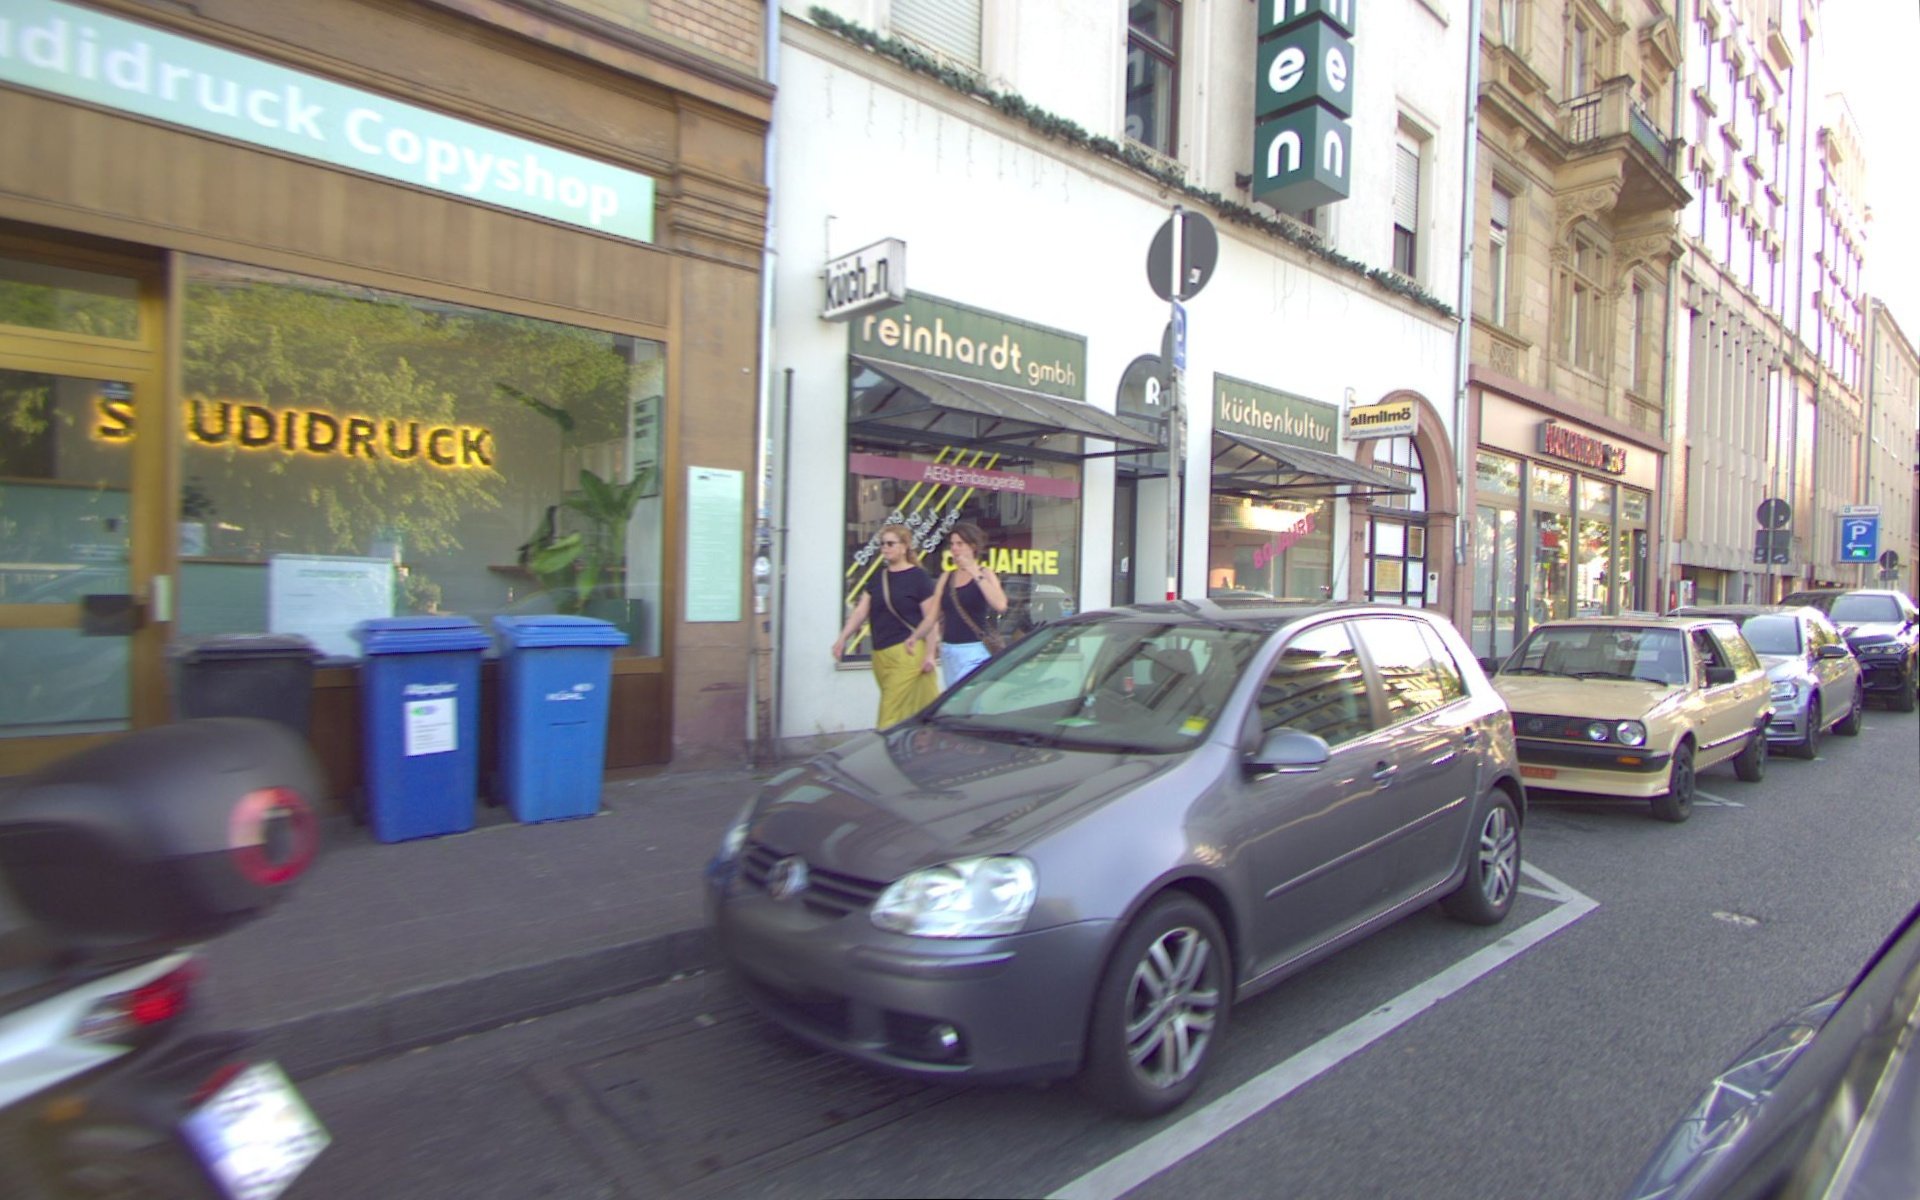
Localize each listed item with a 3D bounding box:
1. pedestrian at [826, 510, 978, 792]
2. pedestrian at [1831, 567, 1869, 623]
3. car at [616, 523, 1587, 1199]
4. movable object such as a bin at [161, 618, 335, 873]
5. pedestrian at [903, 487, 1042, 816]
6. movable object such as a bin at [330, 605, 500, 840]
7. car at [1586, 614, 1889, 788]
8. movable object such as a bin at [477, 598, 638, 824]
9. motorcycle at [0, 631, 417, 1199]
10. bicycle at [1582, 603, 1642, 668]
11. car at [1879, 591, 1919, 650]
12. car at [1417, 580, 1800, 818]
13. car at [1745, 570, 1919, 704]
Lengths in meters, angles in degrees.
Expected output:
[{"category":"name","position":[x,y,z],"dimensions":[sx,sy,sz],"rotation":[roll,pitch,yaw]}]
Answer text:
[{"category":"pedestrian","position":[-0.390,0.285,6.567],"dimensions":[0.579,1.695,0.803],"rotation":[0,3,-38]},{"category":"pedestrian","position":[27.577,-0.162,31.372],"dimensions":[0.874,1.655,0.693],"rotation":[1,3,-42]},{"category":"car","position":[0.938,0.626,4.285],"dimensions":[4.155,1.566,1.841],"rotation":[1,0,-42]},{"category":"movable object such as a bin","position":[-3.305,0.616,4.687],"dimensions":[0.582,1.012,0.725],"rotation":[1,2,-41]},{"category":"pedestrian","position":[0.066,0.271,5.902],"dimensions":[0.509,1.788,0.622],"rotation":[0,1,-38]},{"category":"movable object such as a bin","position":[-2.784,0.573,5.158],"dimensions":[0.615,1.056,0.681],"rotation":[1,2,-41]},{"category":"car","position":[8.533,0.918,10.984],"dimensions":[4.111,1.506,1.842],"rotation":[1,0,-41]},{"category":"movable object such as a bin","position":[-2.225,0.565,5.576],"dimensions":[0.615,1.110,0.681],"rotation":[1,2,-41]},{"category":"motorcycle","position":[-2.122,0.740,1.788],"dimensions":[2.007,1.345,0.656],"rotation":[1,0,4]},{"category":"bicycle","position":[11.782,0.623,18.259],"dimensions":[1.908,1.098,0.358],"rotation":[0,3,-42]},{"category":"car","position":[27.631,0.608,28.524],"dimensions":[4.877,1.496,1.922],"rotation":[0,5,-41]},{"category":"car","position":[5.310,0.620,8.104],"dimensions":[3.763,1.468,1.611],"rotation":[1,0,-41]},{"category":"car","position":[13.728,0.493,15.313],"dimensions":[4.738,1.747,1.977],"rotation":[1,0,-40]}]
